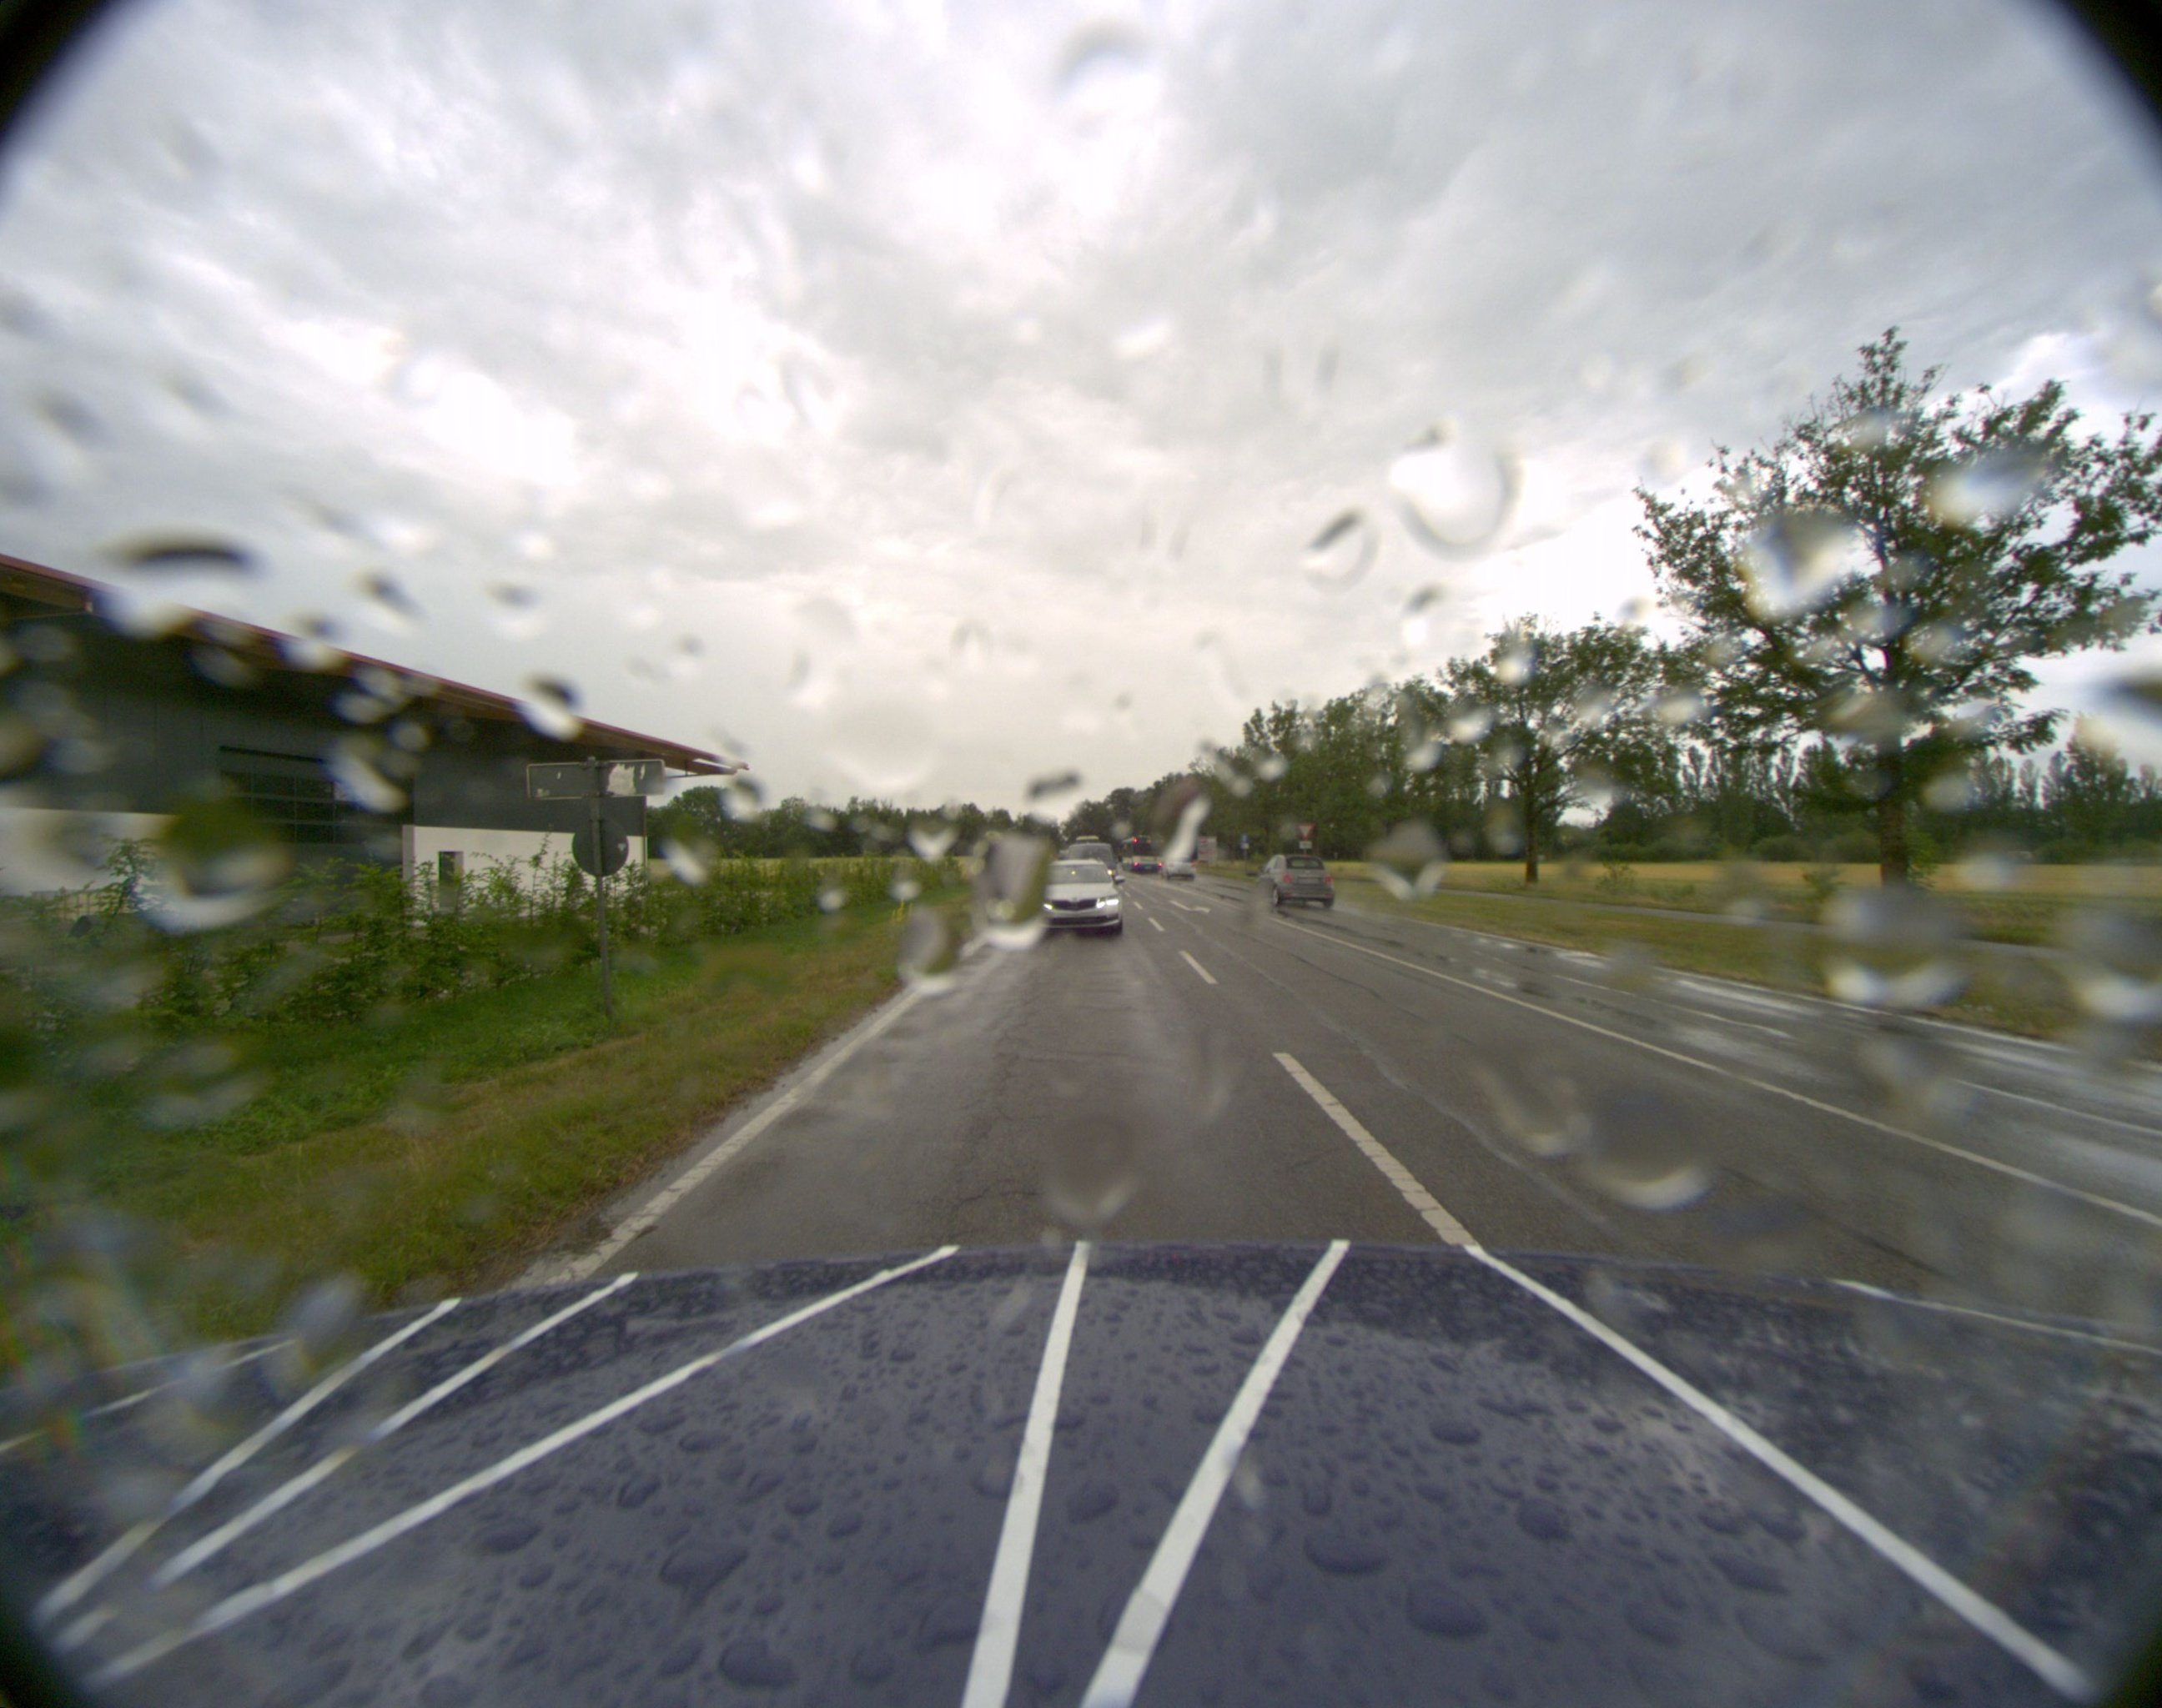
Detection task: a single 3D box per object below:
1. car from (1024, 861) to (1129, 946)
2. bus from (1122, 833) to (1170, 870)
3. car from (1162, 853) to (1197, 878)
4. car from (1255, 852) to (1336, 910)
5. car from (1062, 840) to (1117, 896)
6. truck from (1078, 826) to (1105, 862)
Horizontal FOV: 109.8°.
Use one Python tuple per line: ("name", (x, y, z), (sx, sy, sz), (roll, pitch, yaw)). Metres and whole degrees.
("car", (-0.055, 0.915, 16.010), (1.843, 1.379, 4.569), (-2, 1, 1))
("bus", (5.379, -0.261, 65.396), (2.958, 2.895, 12.472), (0, 1, 0))
("car", (5.912, 0.659, 45.807), (1.672, 1.442, 3.461), (2, 0, 1))
("car", (6.192, 0.724, 22.266), (1.504, 1.521, 3.301), (2, 1, 2))
("car", (0.321, 0.473, 28.235), (1.892, 1.939, 4.000), (0, 1, 1))
("truck", (1.210, -1.074, 88.555), (2.931, 3.828, 14.119), (0, 0, 1))
